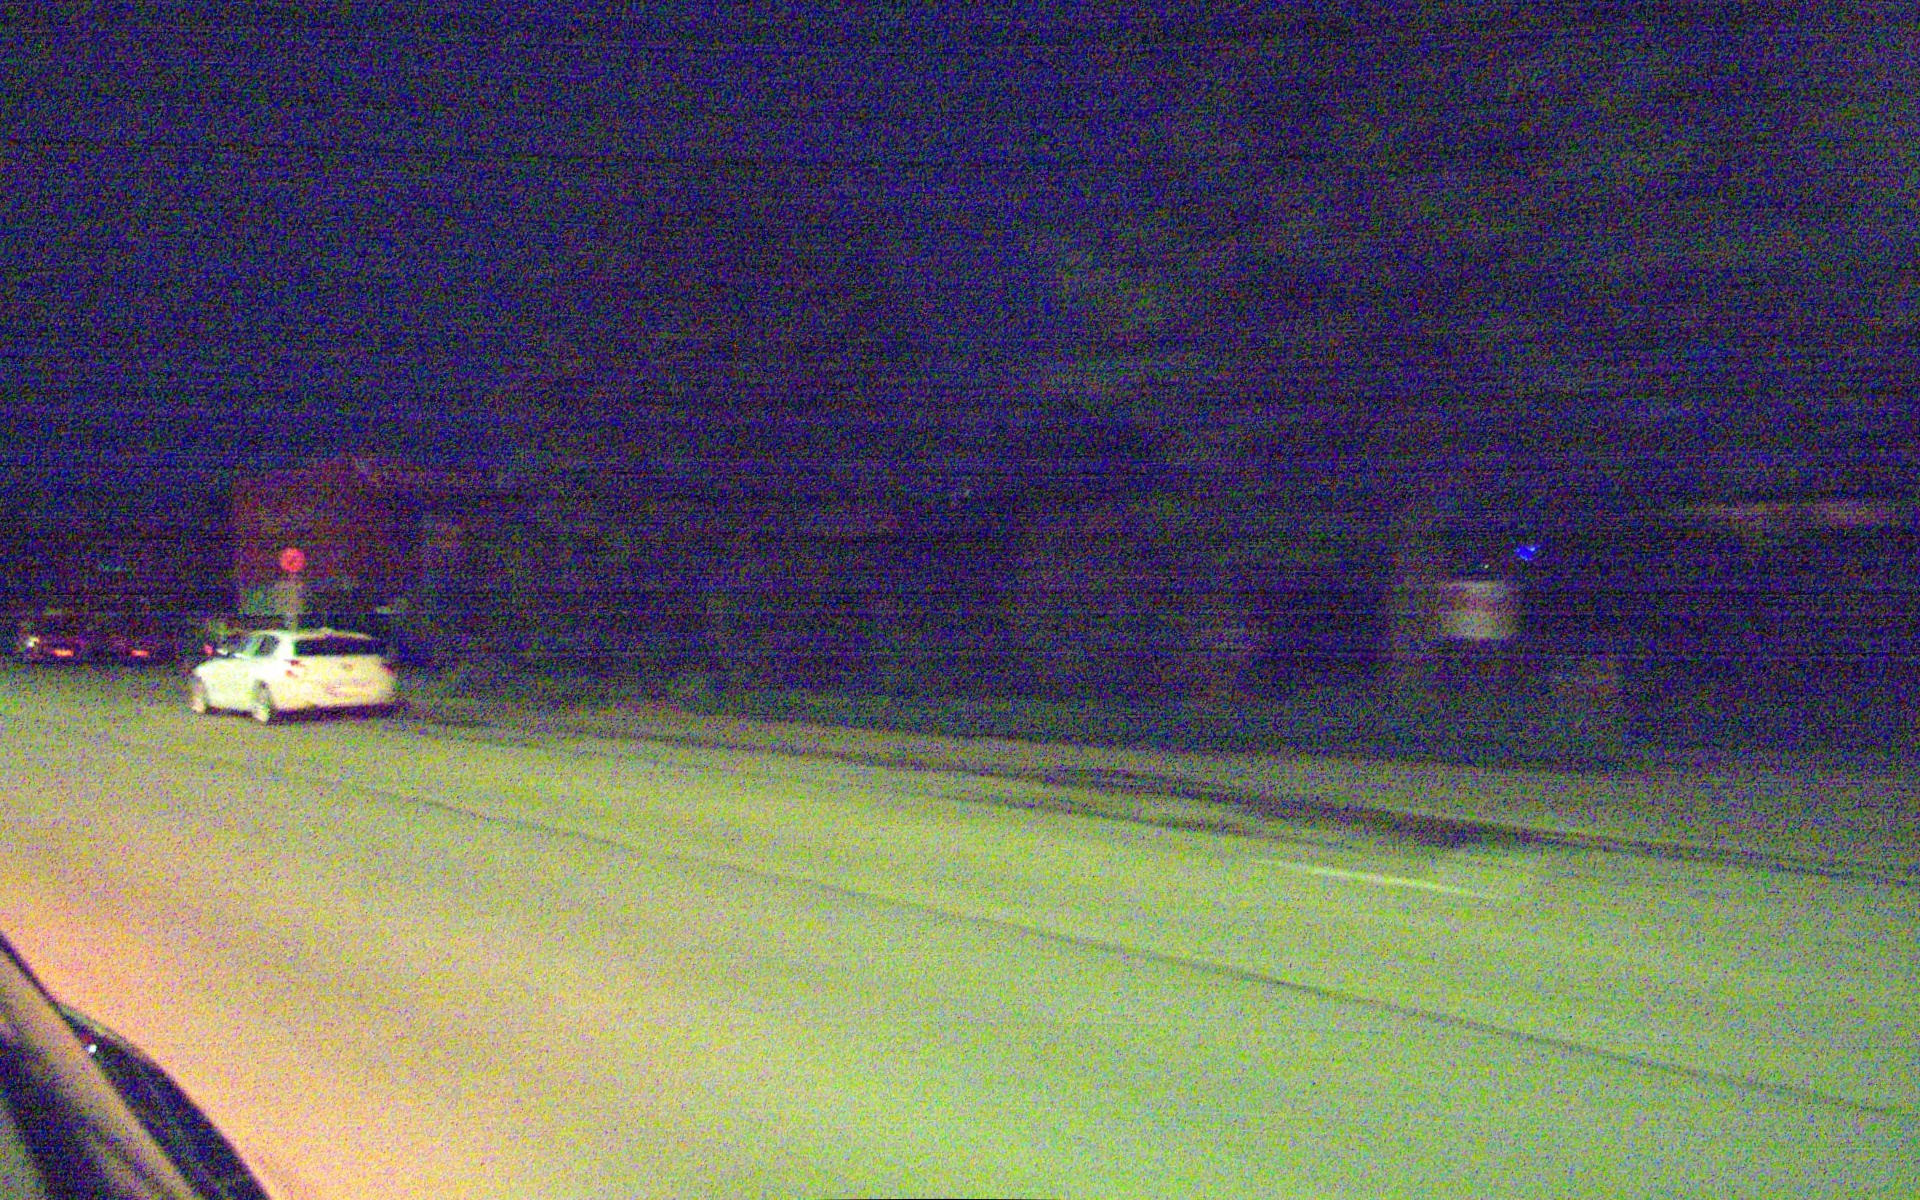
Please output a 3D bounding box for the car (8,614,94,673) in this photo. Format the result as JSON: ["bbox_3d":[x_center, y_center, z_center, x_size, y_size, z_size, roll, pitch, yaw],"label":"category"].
[{"bbox_3d":[-38.319,1.840,42.614,4.963,2.339,1.973,-2,-4,40],"label":"car"}]

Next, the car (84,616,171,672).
[{"bbox_3d":[-37.000,1.955,44.947,4.621,2.339,2.185,-2,-3,40],"label":"car"}]

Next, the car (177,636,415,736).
[{"bbox_3d":[-10.868,1.298,16.470,4.331,1.414,1.893,-2,-3,37],"label":"car"}]

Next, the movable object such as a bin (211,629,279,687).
[{"bbox_3d":[-19.055,1.538,26.979,1.062,1.507,1.155,-2,-3,34],"label":"movable object such as a bin"}]
